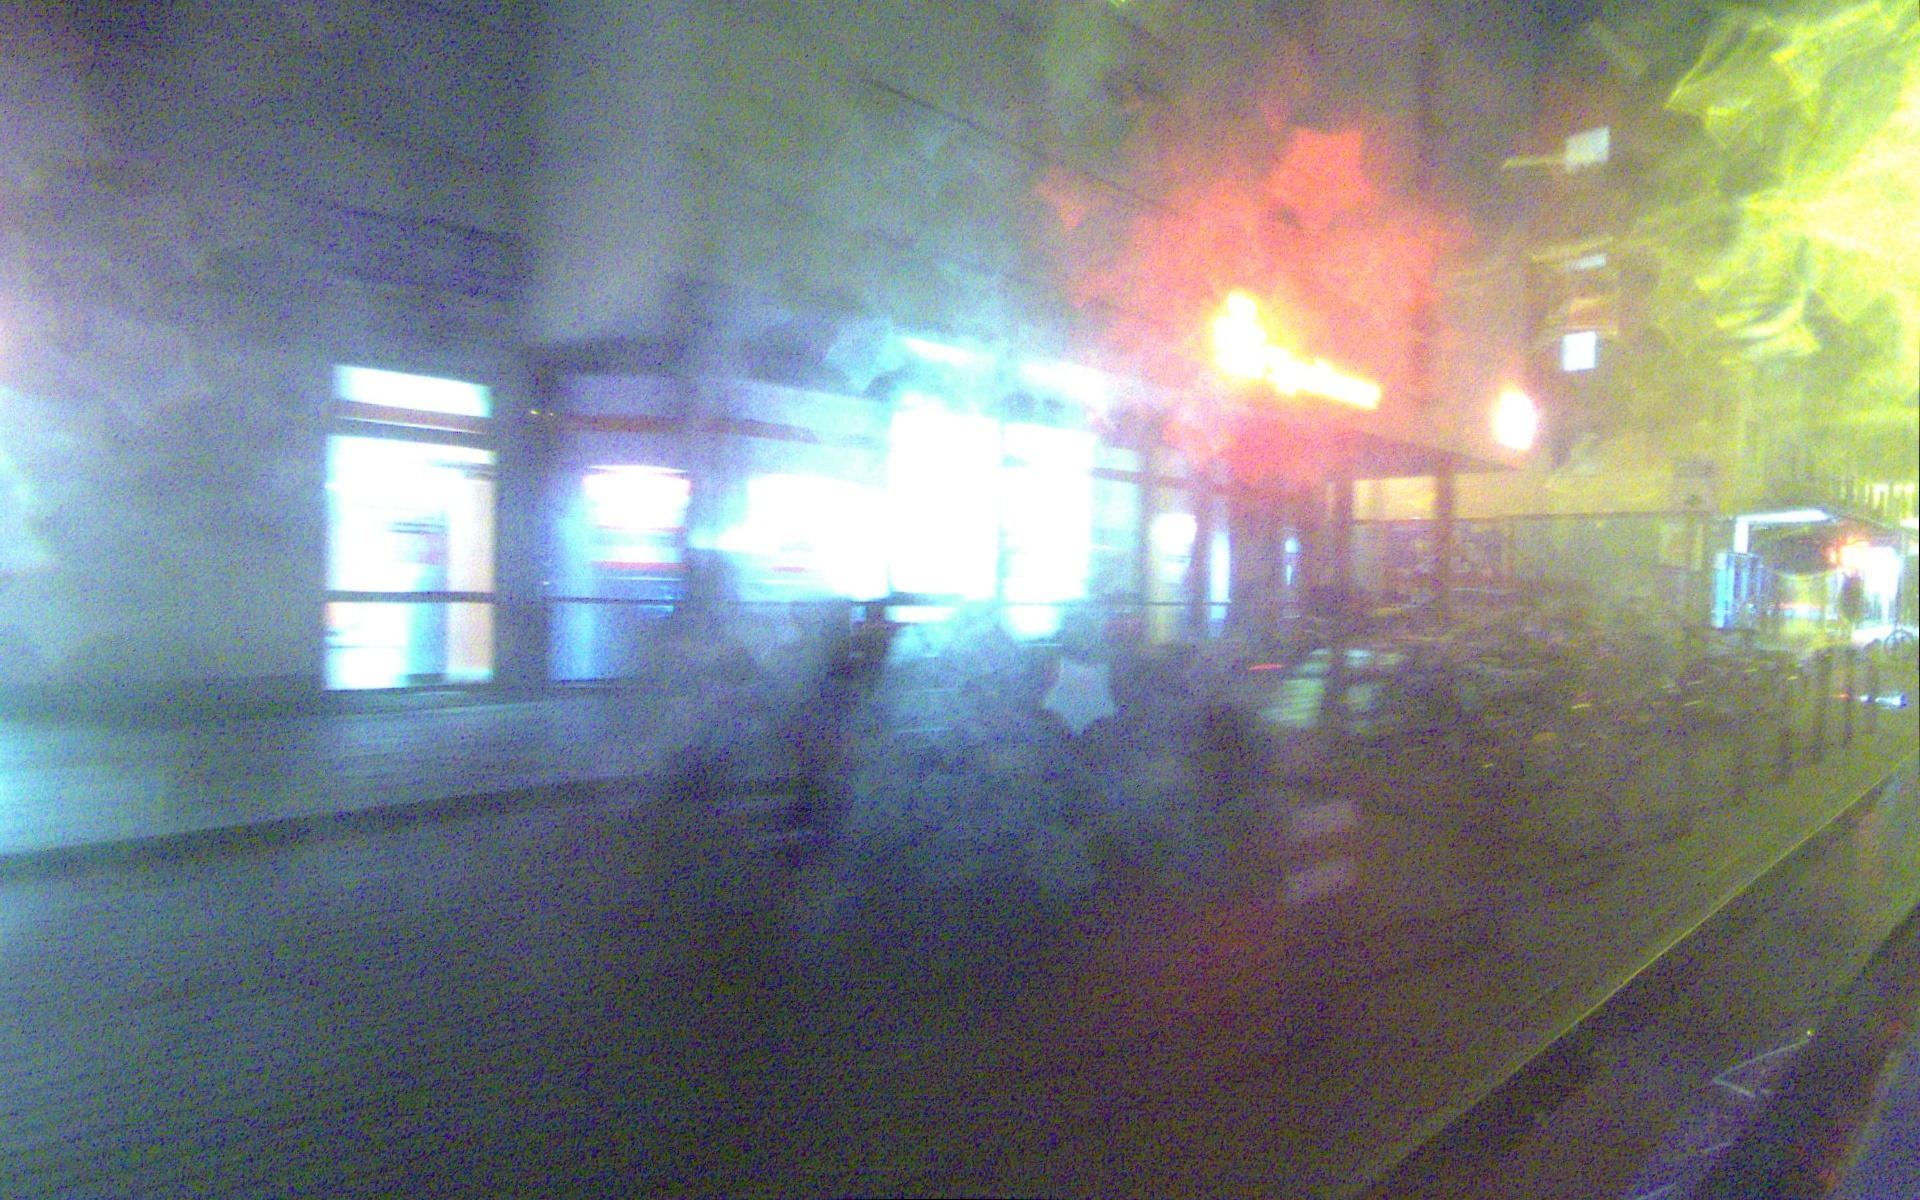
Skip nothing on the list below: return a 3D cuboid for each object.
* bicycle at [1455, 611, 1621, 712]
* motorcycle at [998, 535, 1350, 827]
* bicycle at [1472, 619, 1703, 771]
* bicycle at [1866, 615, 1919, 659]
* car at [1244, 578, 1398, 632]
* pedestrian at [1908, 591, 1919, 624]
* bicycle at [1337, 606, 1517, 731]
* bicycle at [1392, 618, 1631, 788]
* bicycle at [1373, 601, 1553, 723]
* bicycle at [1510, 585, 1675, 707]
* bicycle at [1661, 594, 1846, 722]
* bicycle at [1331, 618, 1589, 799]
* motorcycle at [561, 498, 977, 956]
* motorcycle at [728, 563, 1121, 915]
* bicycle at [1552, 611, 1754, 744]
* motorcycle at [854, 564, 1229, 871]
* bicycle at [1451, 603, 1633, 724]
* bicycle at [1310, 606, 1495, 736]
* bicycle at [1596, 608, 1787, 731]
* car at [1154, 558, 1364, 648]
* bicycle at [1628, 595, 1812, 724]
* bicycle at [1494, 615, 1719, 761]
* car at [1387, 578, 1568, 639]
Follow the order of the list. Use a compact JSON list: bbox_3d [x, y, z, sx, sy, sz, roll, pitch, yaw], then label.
[{"bbox_3d":[6.418,0.657,11.315,0.319,0.843,1.535,0,7,-36],"label":"bicycle"},{"bbox_3d":[1.345,0.410,6.853,0.851,1.565,2.178,0,6,-40],"label":"motorcycle"},{"bbox_3d":[5.245,0.755,8.548,0.360,0.963,1.531,-1,8,-44],"label":"bicycle"},{"bbox_3d":[21.497,0.852,22.342,0.605,0.905,2.279,1,2,-11],"label":"bicycle"},{"bbox_3d":[10.911,0.136,30.797,1.964,1.527,3.995,-1,0,-39],"label":"car"},{"bbox_3d":[55.954,0.443,59.084,0.764,1.925,0.776,0,-1,-40],"label":"pedestrian"},{"bbox_3d":[4.641,0.646,10.140,0.360,0.963,1.531,-2,8,-45],"label":"bicycle"},{"bbox_3d":[4.158,0.730,7.755,0.359,0.963,1.536,0,7,-33],"label":"bicycle"},{"bbox_3d":[5.073,0.592,10.291,0.360,0.963,1.531,-1,8,-44],"label":"bicycle"},{"bbox_3d":[7.591,0.520,12.214,0.360,1.216,1.533,-1,8,-41],"label":"bicycle"},{"bbox_3d":[9.169,0.636,11.757,0.359,1.216,1.535,0,7,-37],"label":"bicycle"},{"bbox_3d":[3.597,0.732,7.450,0.359,0.963,1.678,0,7,-33],"label":"bicycle"},{"bbox_3d":[-1.034,0.377,4.780,0.851,1.606,2.294,0,6,-40],"label":"motorcycle"},{"bbox_3d":[-0.301,0.556,5.346,0.851,1.334,2.178,0,6,-40],"label":"motorcycle"},{"bbox_3d":[6.855,0.728,10.099,0.359,1.035,1.535,0,7,-36],"label":"bicycle"},{"bbox_3d":[0.373,0.539,5.969,0.851,1.334,2.178,0,6,-40],"label":"motorcycle"},{"bbox_3d":[5.969,0.618,10.472,0.359,0.963,1.535,0,7,-36],"label":"bicycle"},{"bbox_3d":[4.197,0.640,9.697,0.360,0.963,1.531,-1,8,-44],"label":"bicycle"},{"bbox_3d":[7.842,0.714,10.920,0.360,1.035,1.533,-1,8,-41],"label":"bicycle"},{"bbox_3d":[6.449,0.044,22.210,1.810,1.792,4.154,0,0,-39],"label":"car"},{"bbox_3d":[8.691,0.643,11.637,0.360,1.216,1.533,-1,8,-41],"label":"bicycle"},{"bbox_3d":[5.592,0.726,8.837,0.360,0.963,1.531,-1,8,-44],"label":"bicycle"},{"bbox_3d":[13.921,0.202,27.395,1.861,1.504,3.996,0,0,-39],"label":"car"}]
